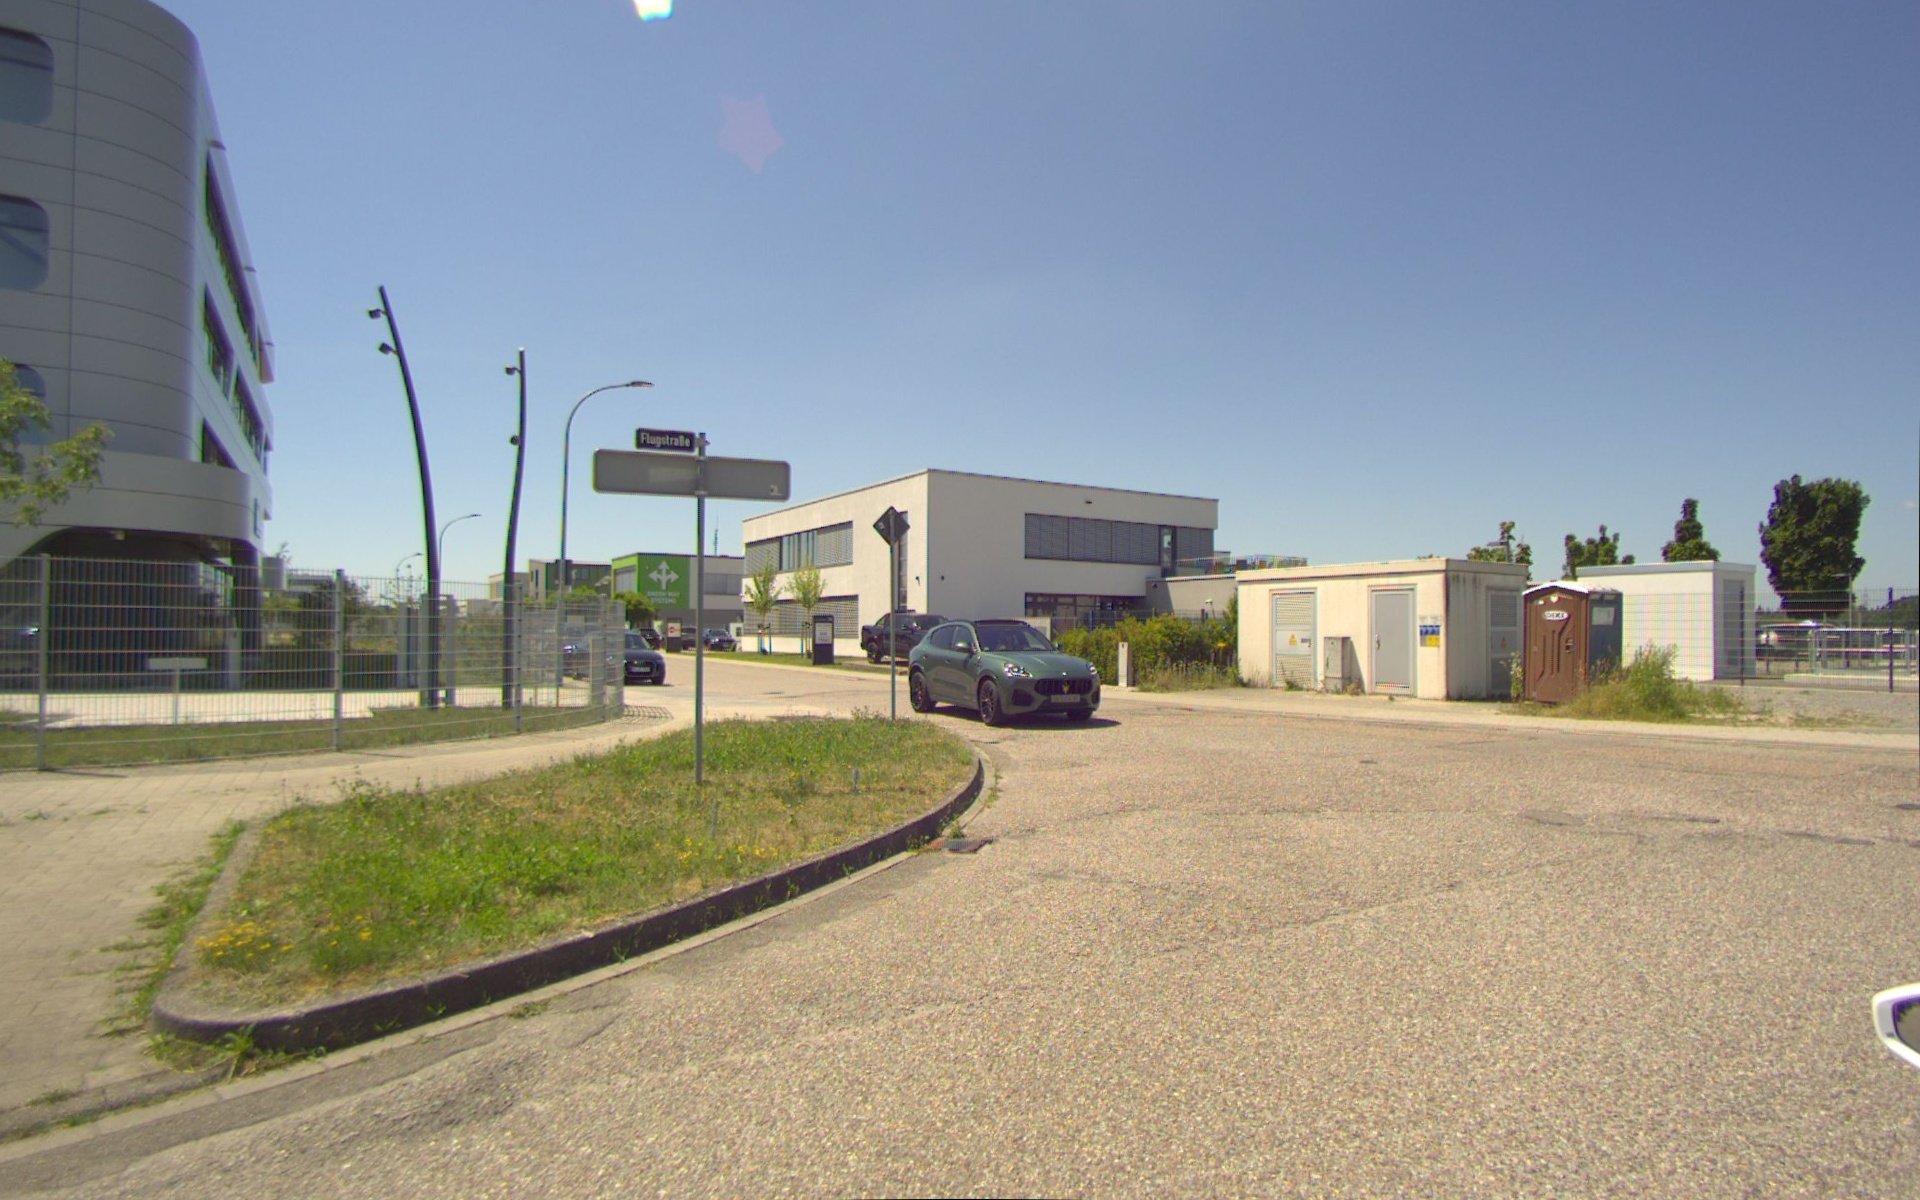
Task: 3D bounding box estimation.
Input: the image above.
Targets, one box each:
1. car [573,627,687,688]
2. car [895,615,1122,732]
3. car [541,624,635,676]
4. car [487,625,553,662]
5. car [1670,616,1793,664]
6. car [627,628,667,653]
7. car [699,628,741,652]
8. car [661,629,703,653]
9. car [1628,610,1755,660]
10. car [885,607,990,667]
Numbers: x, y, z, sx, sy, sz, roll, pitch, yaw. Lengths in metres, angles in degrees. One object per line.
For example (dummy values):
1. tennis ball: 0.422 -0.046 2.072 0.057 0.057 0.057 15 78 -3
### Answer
1. car: -9.371 1.592 28.365 1.980 1.560 3.962 4 -4 -34
2. car: 0.674 1.166 17.485 1.933 1.730 4.480 -1 -1 -28
3. car: -12.331 1.655 33.149 1.980 1.560 3.962 4 -4 -34
4. car: -20.032 1.964 45.663 1.980 1.560 3.962 4 -4 -34
5. car: 34.789 1.784 45.395 1.977 2.040 3.968 1 -2 -31
6. car: -20.915 2.684 67.089 1.621 1.617 3.967 1 -2 -31
7. car: -16.520 2.749 69.046 1.554 1.572 3.962 1 -2 -34
8. car: -18.894 2.757 68.216 1.554 1.572 3.962 1 -2 -34
9. car: 31.422 1.514 43.224 1.977 2.040 3.968 1 -2 -31
10. car: -0.879 1.335 36.367 1.980 2.040 3.962 1 -2 -34
